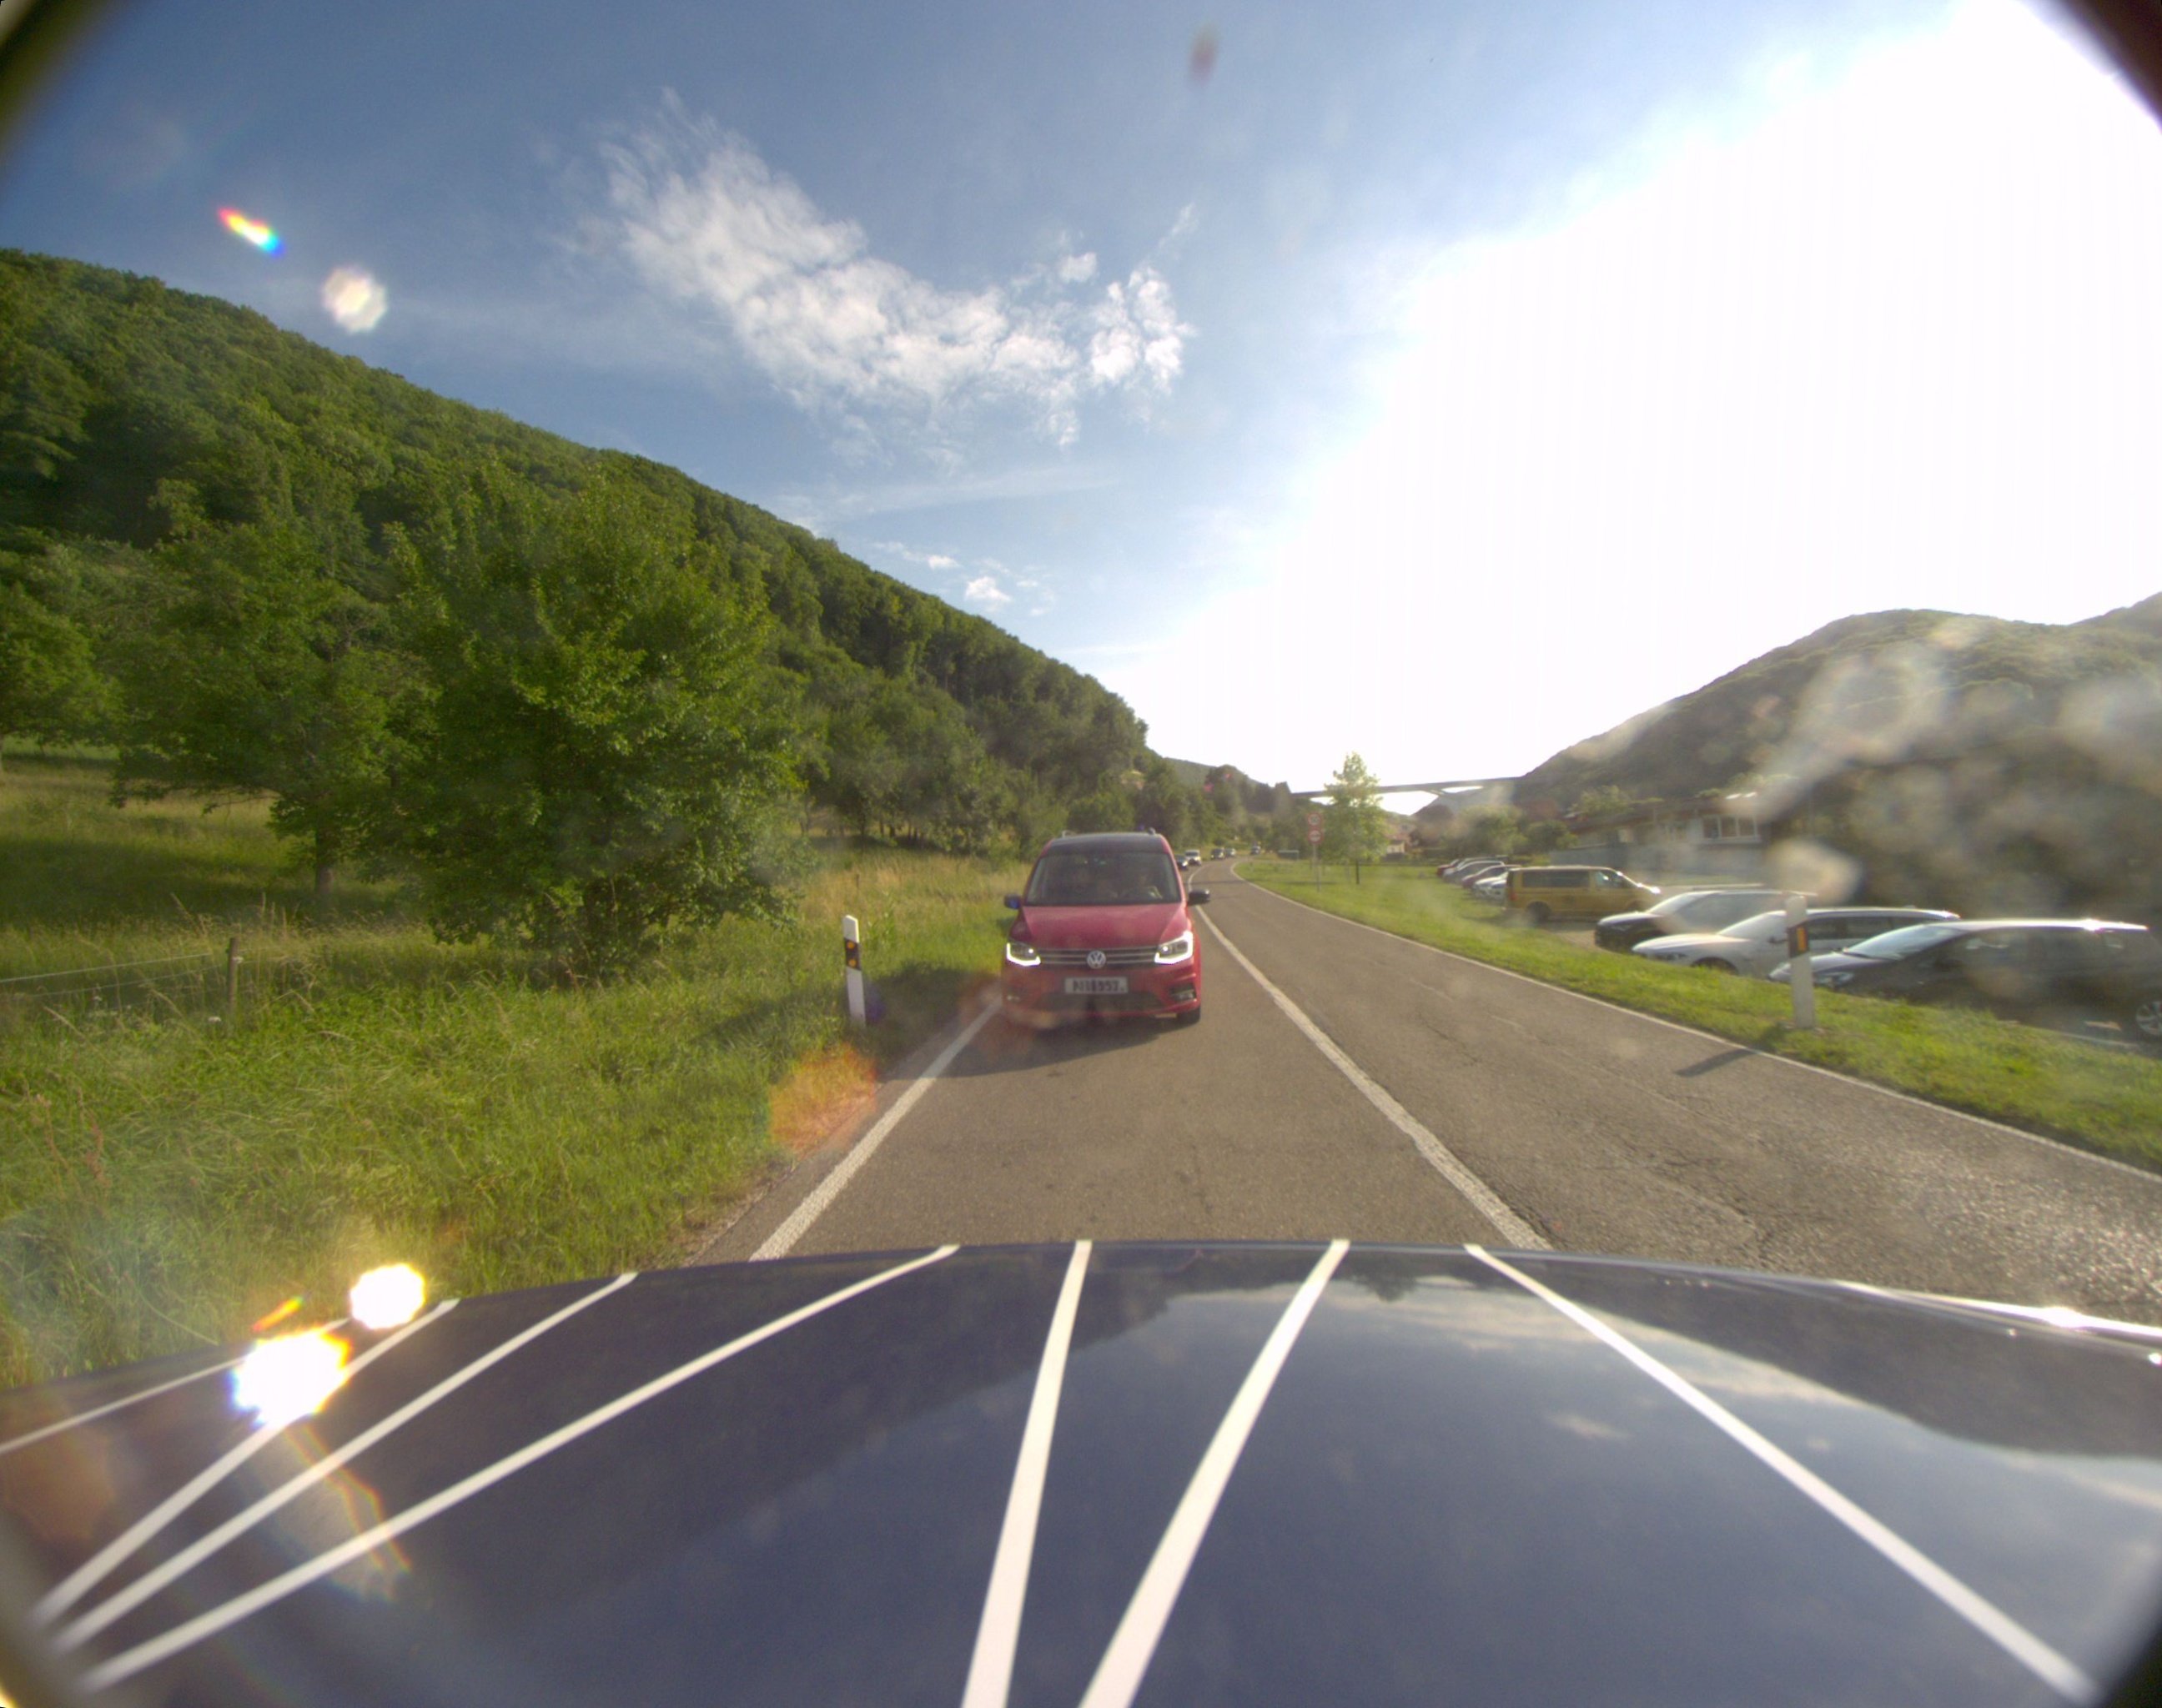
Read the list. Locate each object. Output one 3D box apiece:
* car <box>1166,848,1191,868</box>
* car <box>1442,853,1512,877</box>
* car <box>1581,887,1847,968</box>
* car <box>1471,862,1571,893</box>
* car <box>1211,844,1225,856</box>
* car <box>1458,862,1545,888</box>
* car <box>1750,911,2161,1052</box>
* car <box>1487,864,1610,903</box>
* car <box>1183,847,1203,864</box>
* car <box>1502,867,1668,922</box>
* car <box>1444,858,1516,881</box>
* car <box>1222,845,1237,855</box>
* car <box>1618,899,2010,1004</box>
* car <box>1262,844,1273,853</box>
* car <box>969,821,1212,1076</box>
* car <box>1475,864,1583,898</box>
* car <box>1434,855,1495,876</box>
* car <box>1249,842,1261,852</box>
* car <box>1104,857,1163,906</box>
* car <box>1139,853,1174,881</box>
[{"bbox_3d":[8.432,0.355,65.375,1.911,1.675,4.003,-2,-1,10],"label":"car"},{"bbox_3d":[31.067,0.870,59.762,4.664,1.752,2.003,-1,0,22],"label":"car"},{"bbox_3d":[14.392,1.687,17.606,4.288,1.628,1.915,-3,-1,18],"label":"car"},{"bbox_3d":[23.738,1.275,41.183,4.436,1.573,2.003,-1,0,22],"label":"car"},{"bbox_3d":[20.722,-0.573,114.692,1.677,1.637,3.351,-3,-2,16],"label":"car"},{"bbox_3d":[25.323,1.257,45.972,4.436,1.443,2.003,-1,0,23],"label":"car"},{"bbox_3d":[12.219,1.652,10.569,3.990,1.526,1.836,-1,0,22],"label":"car"},{"bbox_3d":[21.261,1.324,34.766,4.544,1.691,2.003,-1,0,23],"label":"car"},{"bbox_3d":[12.551,0.188,85.026,1.797,1.725,4.287,-2,0,12],"label":"car"},{"bbox_3d":[17.830,1.394,27.177,4.652,1.802,2.003,-1,0,23],"label":"car"},{"bbox_3d":[29.003,1.132,55.417,4.437,1.573,2.003,-2,0,22],"label":"car"},{"bbox_3d":[25.814,-0.705,132.234,1.996,1.706,4.005,-2,-1,18],"label":"car"},{"bbox_3d":[12.595,1.620,13.501,4.644,1.488,1.915,-1,0,19],"label":"car"},{"bbox_3d":[42.335,-1.178,172.627,1.909,1.893,4.005,-2,1,19],"label":"car"},{"bbox_3d":[0.219,0.726,7.801,1.746,1.849,4.350,-2,0,4],"label":"car"},{"bbox_3d":[22.340,1.324,38.106,4.436,1.577,2.003,-1,0,23],"label":"car"},{"bbox_3d":[32.666,0.964,64.850,4.436,1.709,2.003,-1,0,22],"label":"car"},{"bbox_3d":[36.771,-1.502,160.363,1.909,1.893,4.005,-2,1,19],"label":"car"},{"bbox_3d":[1.778,0.863,25.645,1.798,1.464,4.285,-2,0,4],"label":"car"},{"bbox_3d":[4.292,0.727,42.774,1.798,1.464,4.286,-2,0,8],"label":"car"}]
